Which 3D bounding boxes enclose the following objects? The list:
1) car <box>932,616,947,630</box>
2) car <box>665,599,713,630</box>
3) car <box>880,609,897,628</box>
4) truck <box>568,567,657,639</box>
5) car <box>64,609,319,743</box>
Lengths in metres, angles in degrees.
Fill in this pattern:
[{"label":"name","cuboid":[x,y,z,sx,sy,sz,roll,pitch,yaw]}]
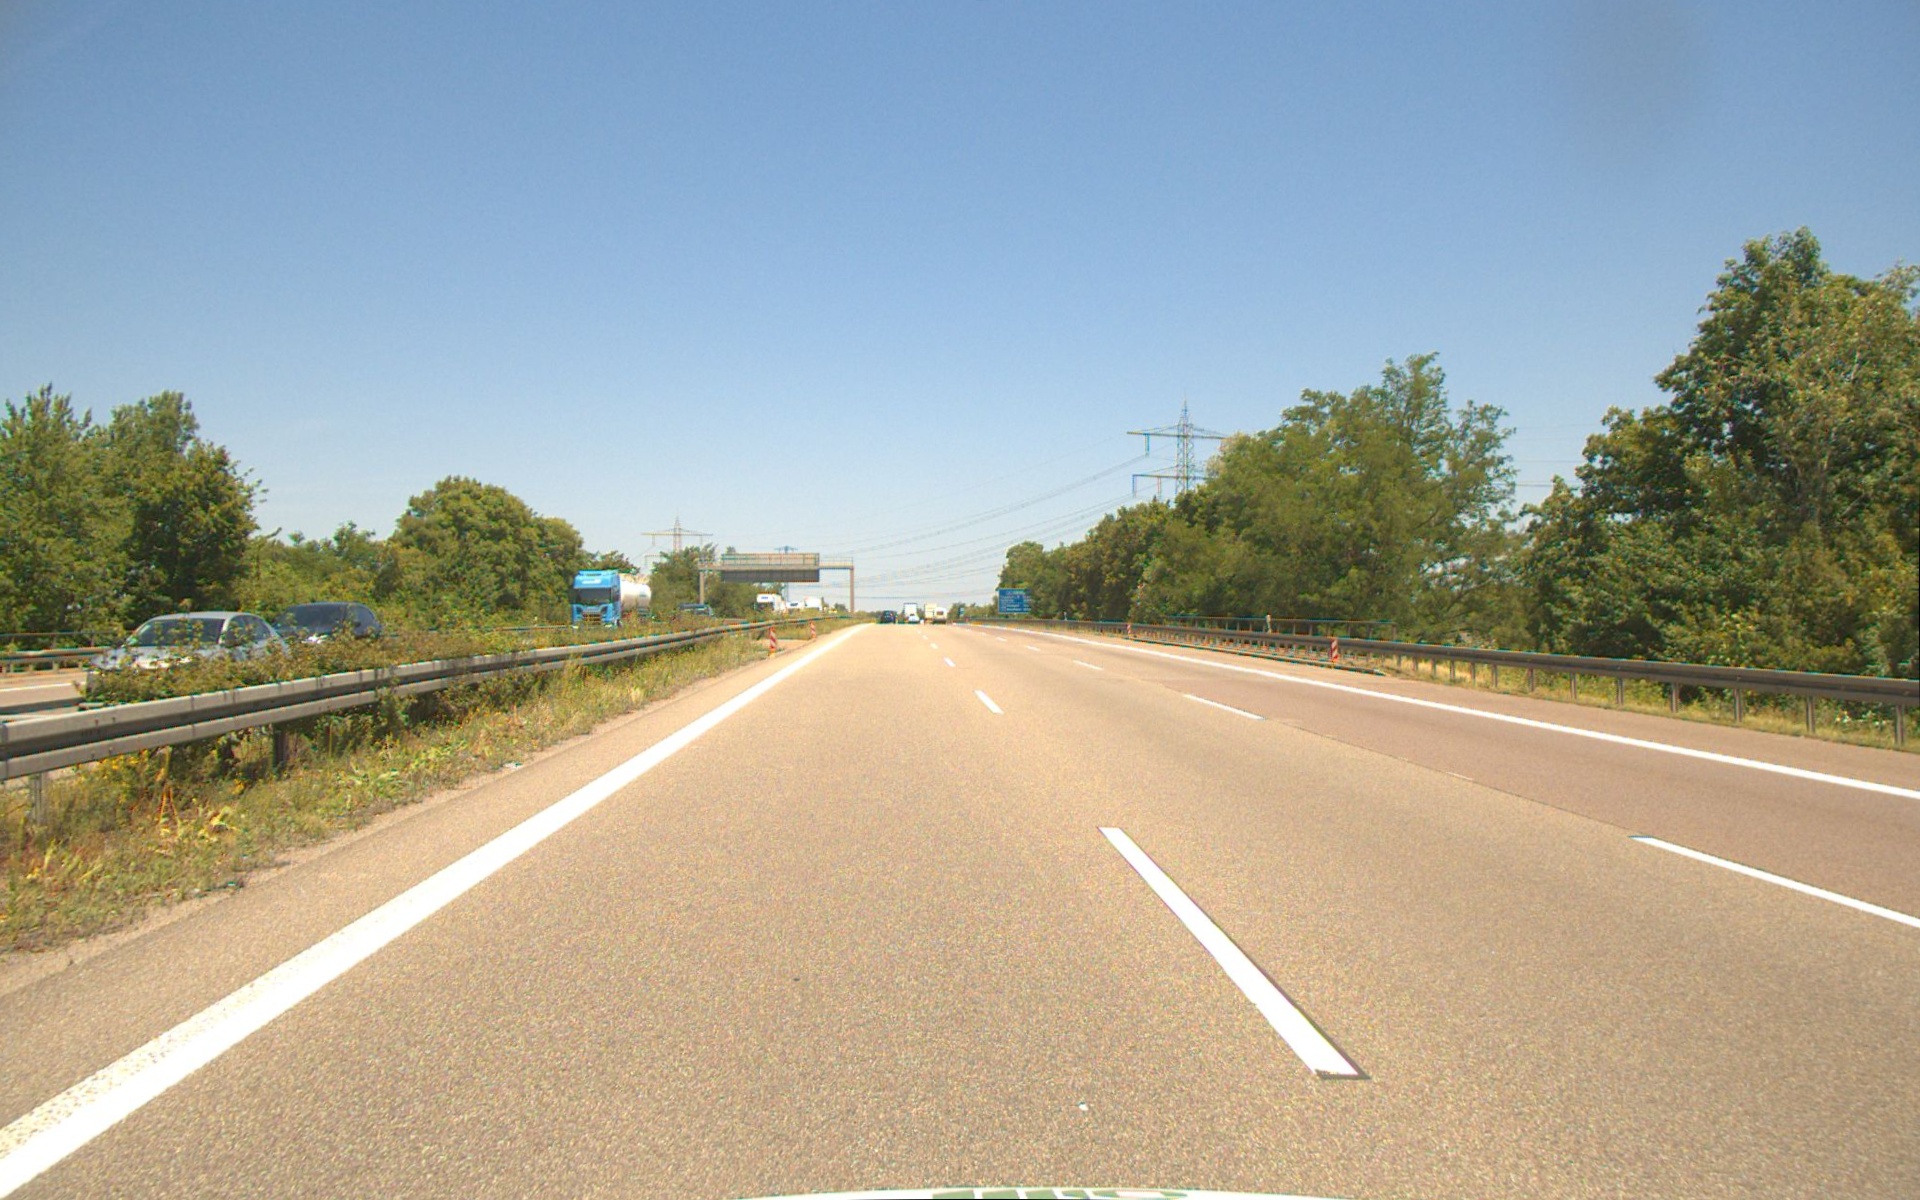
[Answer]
[{"label":"car","cuboid":[-3.044,3.350,244.072,1.954,2.049,3.998,0,-1,-3]},{"label":"car","cuboid":[-17.783,0.903,108.828,2.364,1.951,5.780,-1,0,-2]},{"label":"car","cuboid":[-7.894,2.072,183.130,1.755,2.049,3.886,1,0,-2]},{"label":"truck","cuboid":[-21.428,0.247,103.033,2.674,4.124,15.929,0,-1,-2]},{"label":"car","cuboid":[-11.211,1.035,24.474,1.953,1.761,4.091,-1,0,-2]}]
